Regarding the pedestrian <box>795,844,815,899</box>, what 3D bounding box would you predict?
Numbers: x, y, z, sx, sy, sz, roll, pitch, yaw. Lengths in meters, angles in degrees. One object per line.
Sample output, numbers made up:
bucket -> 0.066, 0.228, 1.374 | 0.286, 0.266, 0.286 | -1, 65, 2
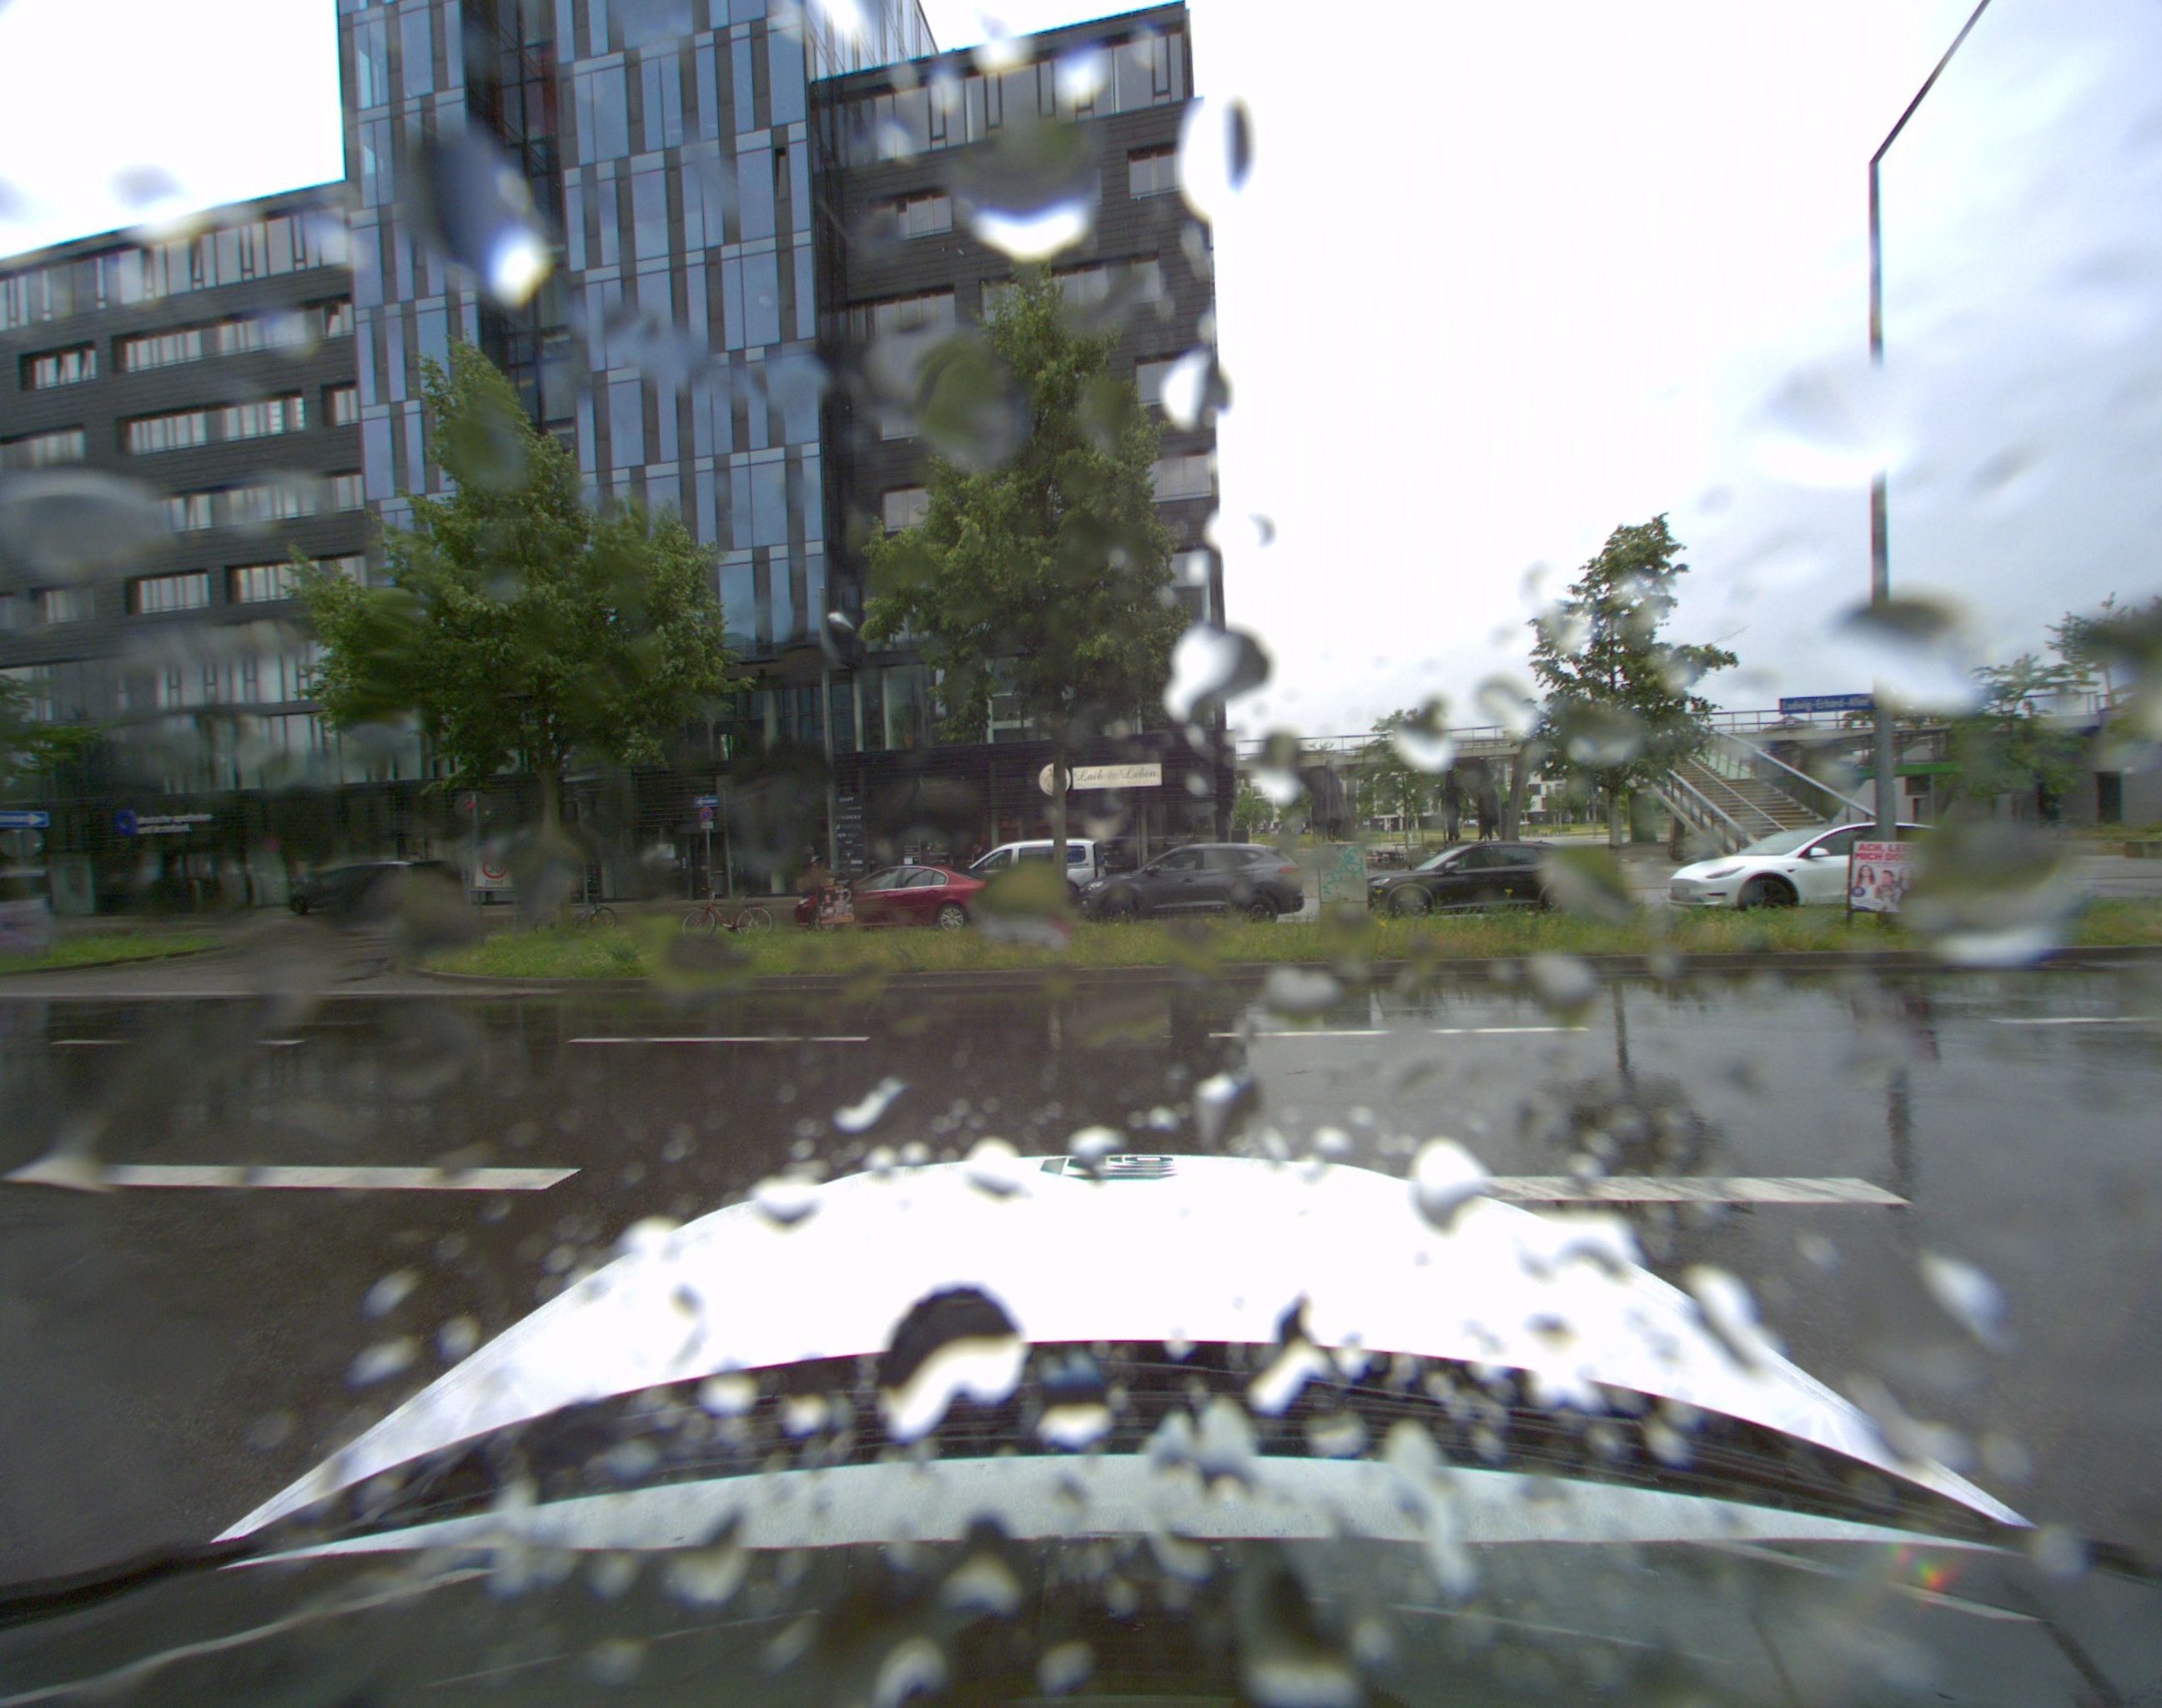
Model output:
pedestrian -> -9.312, 0.586, 27.435 | 0.578, 1.832, 0.503 | -1, 1, -26

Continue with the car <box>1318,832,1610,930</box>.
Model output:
car -> 7.053, 0.445, 15.508 | 4.679, 1.707, 2.006 | 0, 1, 9

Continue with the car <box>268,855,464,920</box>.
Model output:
car -> -23.877, 1.106, 27.270 | 5.103, 1.920, 2.005 | -2, 1, 8

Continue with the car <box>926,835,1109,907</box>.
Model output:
car -> -1.674, 0.416, 22.431 | 4.682, 1.865, 1.904 | 0, 1, 7

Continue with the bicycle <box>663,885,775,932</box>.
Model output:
bicycle -> -7.048, 1.058, 15.912 | 1.905, 0.862, 0.573 | 0, 1, -5

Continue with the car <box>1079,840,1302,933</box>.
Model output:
car -> 2.202, 0.585, 16.376 | 4.178, 1.707, 2.006 | 0, 1, 10

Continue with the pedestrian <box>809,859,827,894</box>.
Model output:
pedestrian -> -9.637, 0.810, 29.863 | 0.452, 1.237, 0.575 | -1, 1, -37

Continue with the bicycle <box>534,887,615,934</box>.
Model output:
bicycle -> -11.342, 1.244, 18.258 | 0.428, 0.917, 1.471 | 1, 2, 43

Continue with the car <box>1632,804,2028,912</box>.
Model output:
car -> 12.800, 0.037, 14.283 | 4.793, 1.707, 2.006 | 0, 1, 9

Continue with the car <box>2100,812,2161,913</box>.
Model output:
car -> 20.606, 0.144, 13.332 | 4.793, 1.707, 2.006 | 0, 1, 9

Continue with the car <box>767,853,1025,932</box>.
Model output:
car -> -3.873, 0.800, 17.416 | 4.911, 1.454, 2.006 | -2, 1, 11
